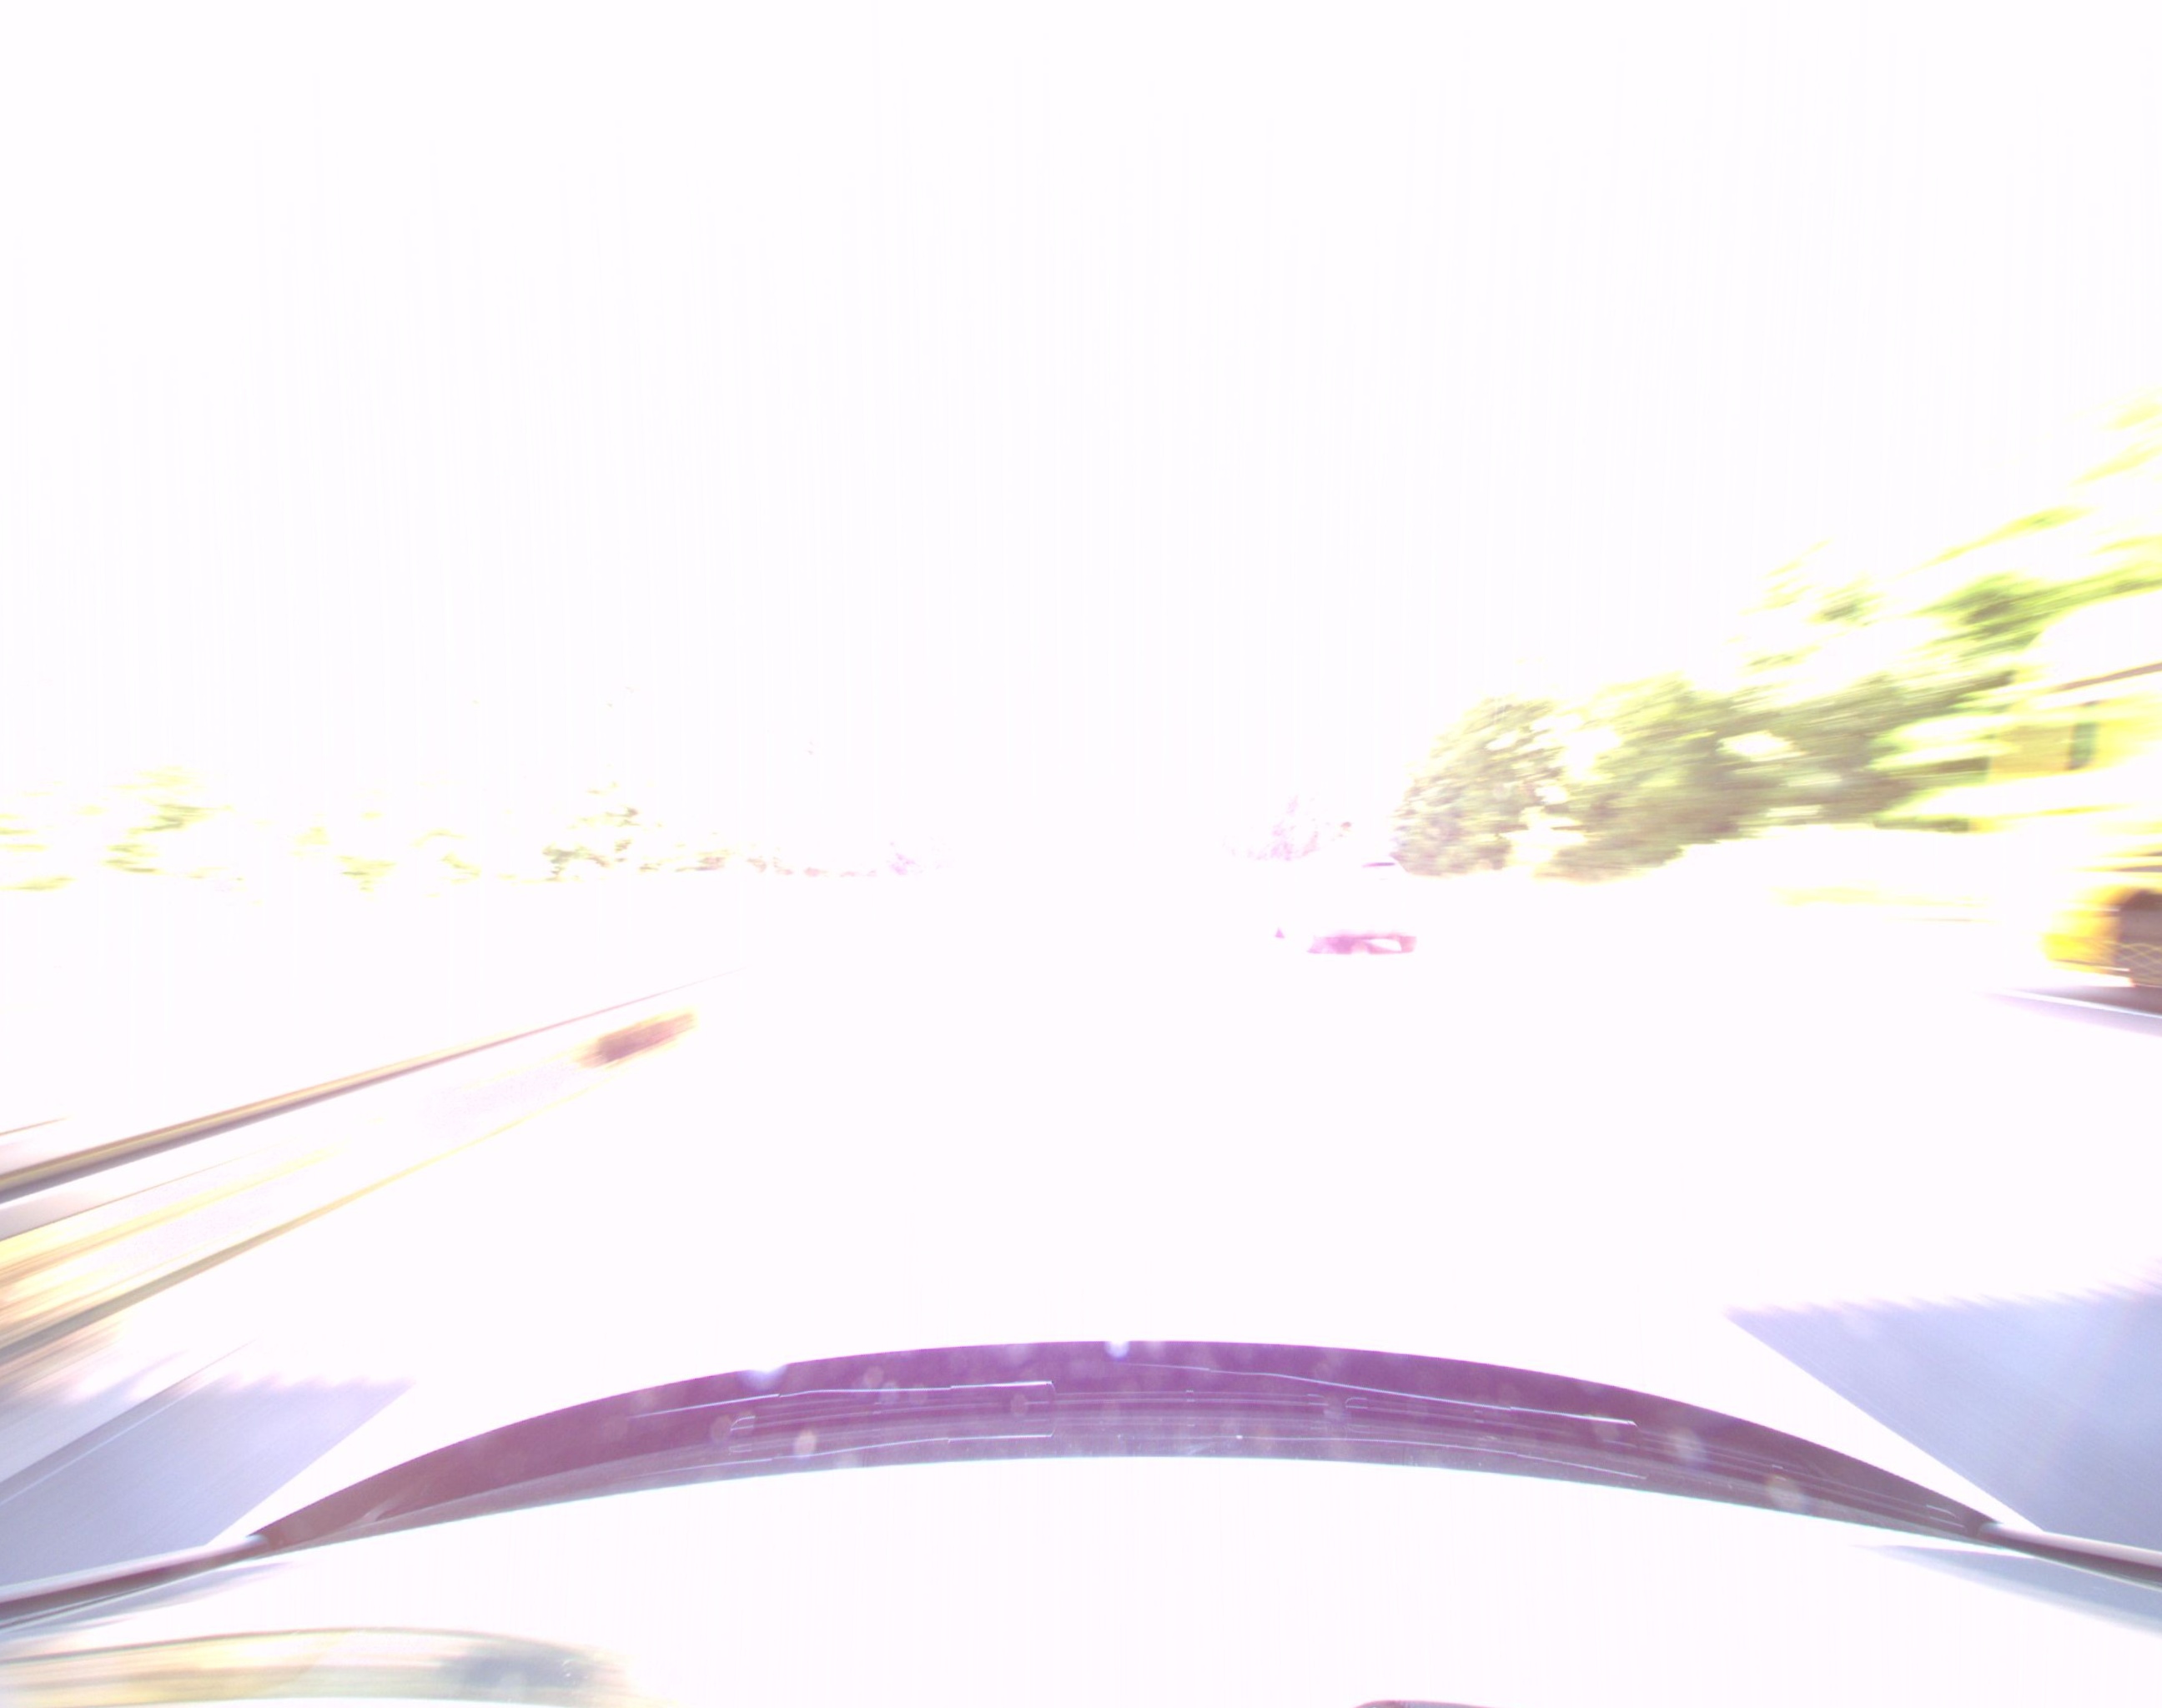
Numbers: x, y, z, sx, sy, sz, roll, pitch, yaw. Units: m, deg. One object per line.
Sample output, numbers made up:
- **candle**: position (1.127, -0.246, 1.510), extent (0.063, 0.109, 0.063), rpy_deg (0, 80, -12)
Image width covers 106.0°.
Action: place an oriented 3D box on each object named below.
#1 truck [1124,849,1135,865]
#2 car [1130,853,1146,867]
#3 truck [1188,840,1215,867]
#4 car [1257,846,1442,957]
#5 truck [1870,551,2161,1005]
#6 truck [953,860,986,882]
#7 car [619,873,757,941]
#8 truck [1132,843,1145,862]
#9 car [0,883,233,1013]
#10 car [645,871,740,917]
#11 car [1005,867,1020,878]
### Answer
- **truck**: position (15.681, 1.004, 263.925), extent (3.353, 4.881, 15.096), rpy_deg (-1, 0, 3)
- **car**: position (7.165, 0.805, 103.061), extent (1.820, 1.706, 4.001), rpy_deg (-1, 0, 2)
- **truck**: position (15.628, -0.062, 106.407), extent (3.013, 3.319, 10.789), rpy_deg (-1, 0, 6)
- **car**: position (4.490, 0.719, 14.462), extent (1.820, 1.608, 4.810), rpy_deg (-1, 0, 2)
- **truck**: position (10.893, -0.692, 4.545), extent (2.962, 4.037, 10.993), rpy_deg (0, 0, 4)
- **truck**: position (-16.530, 2.462, 121.676), extent (2.743, 2.990, 12.860), rpy_deg (-3, -1, 2)
- **car**: position (-11.734, 1.507, 24.728), extent (1.733, 1.719, 4.641), rpy_deg (-3, -1, 2)
- **truck**: position (15.524, -0.348, 220.765), extent (3.363, 4.881, 15.096), rpy_deg (-1, 0, 3)
- **car**: position (-16.591, 1.467, 12.527), extent (1.733, 1.805, 4.937), rpy_deg (-3, -1, 2)
- **car**: position (-17.200, 1.723, 36.358), extent (1.734, 1.763, 5.085), rpy_deg (-3, -1, 0)
- **car**: position (-9.635, 2.602, 114.717), extent (1.682, 1.544, 4.206), rpy_deg (-1, 0, 2)
